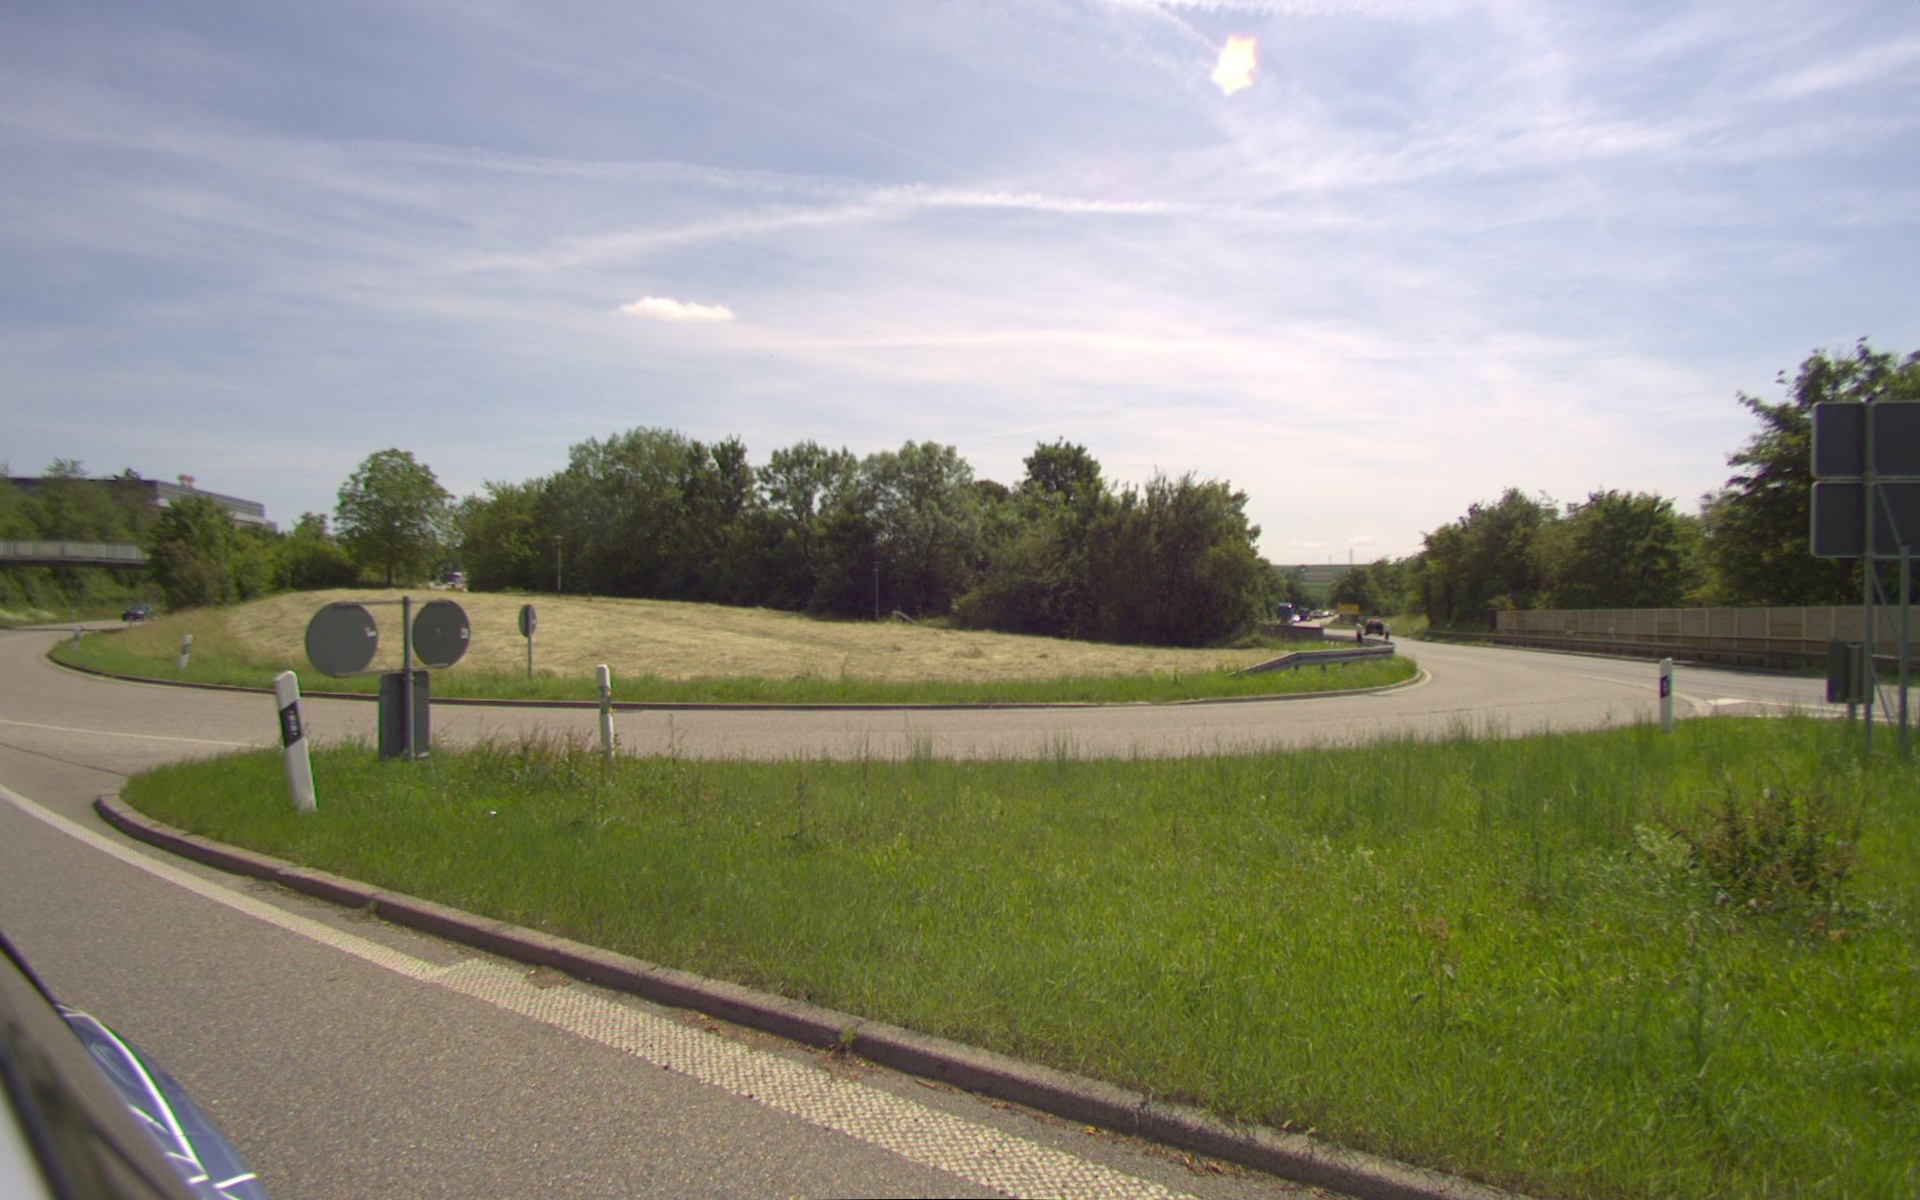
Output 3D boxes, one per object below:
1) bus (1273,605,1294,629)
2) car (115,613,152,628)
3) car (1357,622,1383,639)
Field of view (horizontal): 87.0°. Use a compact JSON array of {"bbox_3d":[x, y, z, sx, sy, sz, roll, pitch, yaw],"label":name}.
[{"bbox_3d":[57.846,3.009,180.716,3.327,4.100,10.446,1,-1,19],"label":"bus"},{"bbox_3d":[-82.248,2.084,100.795,1.926,1.433,3.950,1,-2,-26],"label":"car"},{"bbox_3d":[41.098,3.053,101.502,1.738,1.550,4.089,-1,-1,13],"label":"car"}]
